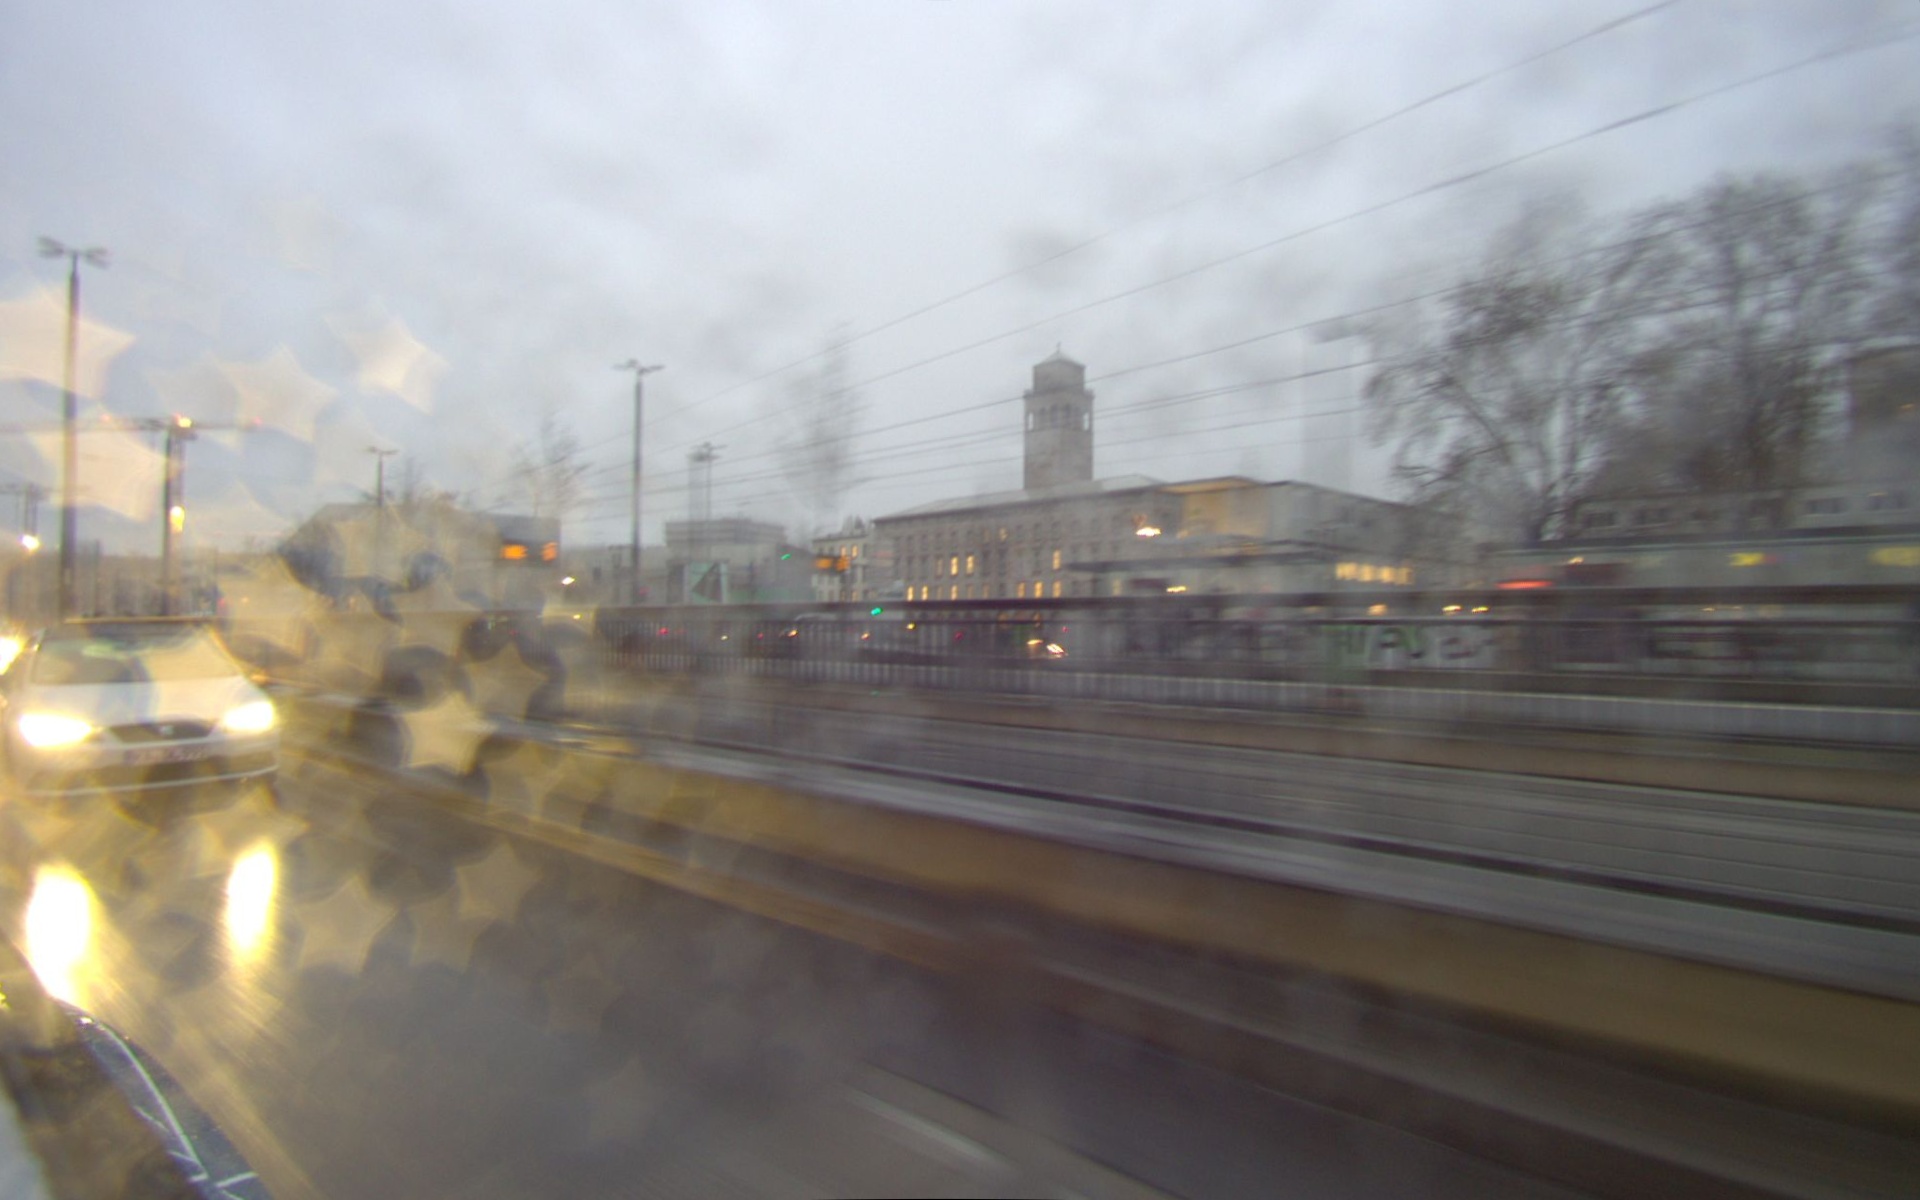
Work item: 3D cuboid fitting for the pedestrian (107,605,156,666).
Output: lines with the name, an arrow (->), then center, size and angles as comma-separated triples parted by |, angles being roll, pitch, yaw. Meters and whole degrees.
pedestrian -> -30.366, 1.291, 37.122 | 0.949, 2.224, 1.047 | -1, -1, 16

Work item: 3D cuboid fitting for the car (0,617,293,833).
car -> -7.571, 0.916, 9.141 | 4.141, 1.484, 1.789 | -1, -1, 45

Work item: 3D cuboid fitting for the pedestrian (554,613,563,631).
pedestrian -> -37.168, 2.048, 93.694 | 0.646, 1.678, 0.743 | 0, -2, -11

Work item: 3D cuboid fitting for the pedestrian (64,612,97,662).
pedestrian -> -30.769, 1.283, 35.410 | 0.656, 1.748, 0.607 | 0, 0, -11

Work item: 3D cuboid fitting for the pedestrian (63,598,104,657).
pedestrian -> -32.838, 1.020, 37.918 | 1.015, 2.162, 0.896 | -1, -1, 32

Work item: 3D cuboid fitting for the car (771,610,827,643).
car -> -13.778, 2.271, 86.714 | 4.373, 2.732, 2.002 | 0, -1, -43

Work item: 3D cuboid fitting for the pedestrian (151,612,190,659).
pedestrian -> -29.130, 1.302, 37.357 | 0.758, 1.727, 0.856 | -1, -1, 16

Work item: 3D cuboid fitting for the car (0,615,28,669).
car -> -31.858, 1.352, 33.002 | 4.002, 1.695, 1.971 | -1, -1, 45

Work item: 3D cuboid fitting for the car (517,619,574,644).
car -> -28.563, 2.133, 69.644 | 4.228, 1.628, 1.855 | -1, -1, 40

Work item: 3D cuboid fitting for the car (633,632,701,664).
car -> -17.953, 2.903, 62.002 | 4.381, 1.887, 1.855 | -1, -1, 40

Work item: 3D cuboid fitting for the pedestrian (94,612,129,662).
pedestrian -> -29.762, 1.284, 35.498 | 0.743, 1.731, 0.650 | -1, -1, 16
